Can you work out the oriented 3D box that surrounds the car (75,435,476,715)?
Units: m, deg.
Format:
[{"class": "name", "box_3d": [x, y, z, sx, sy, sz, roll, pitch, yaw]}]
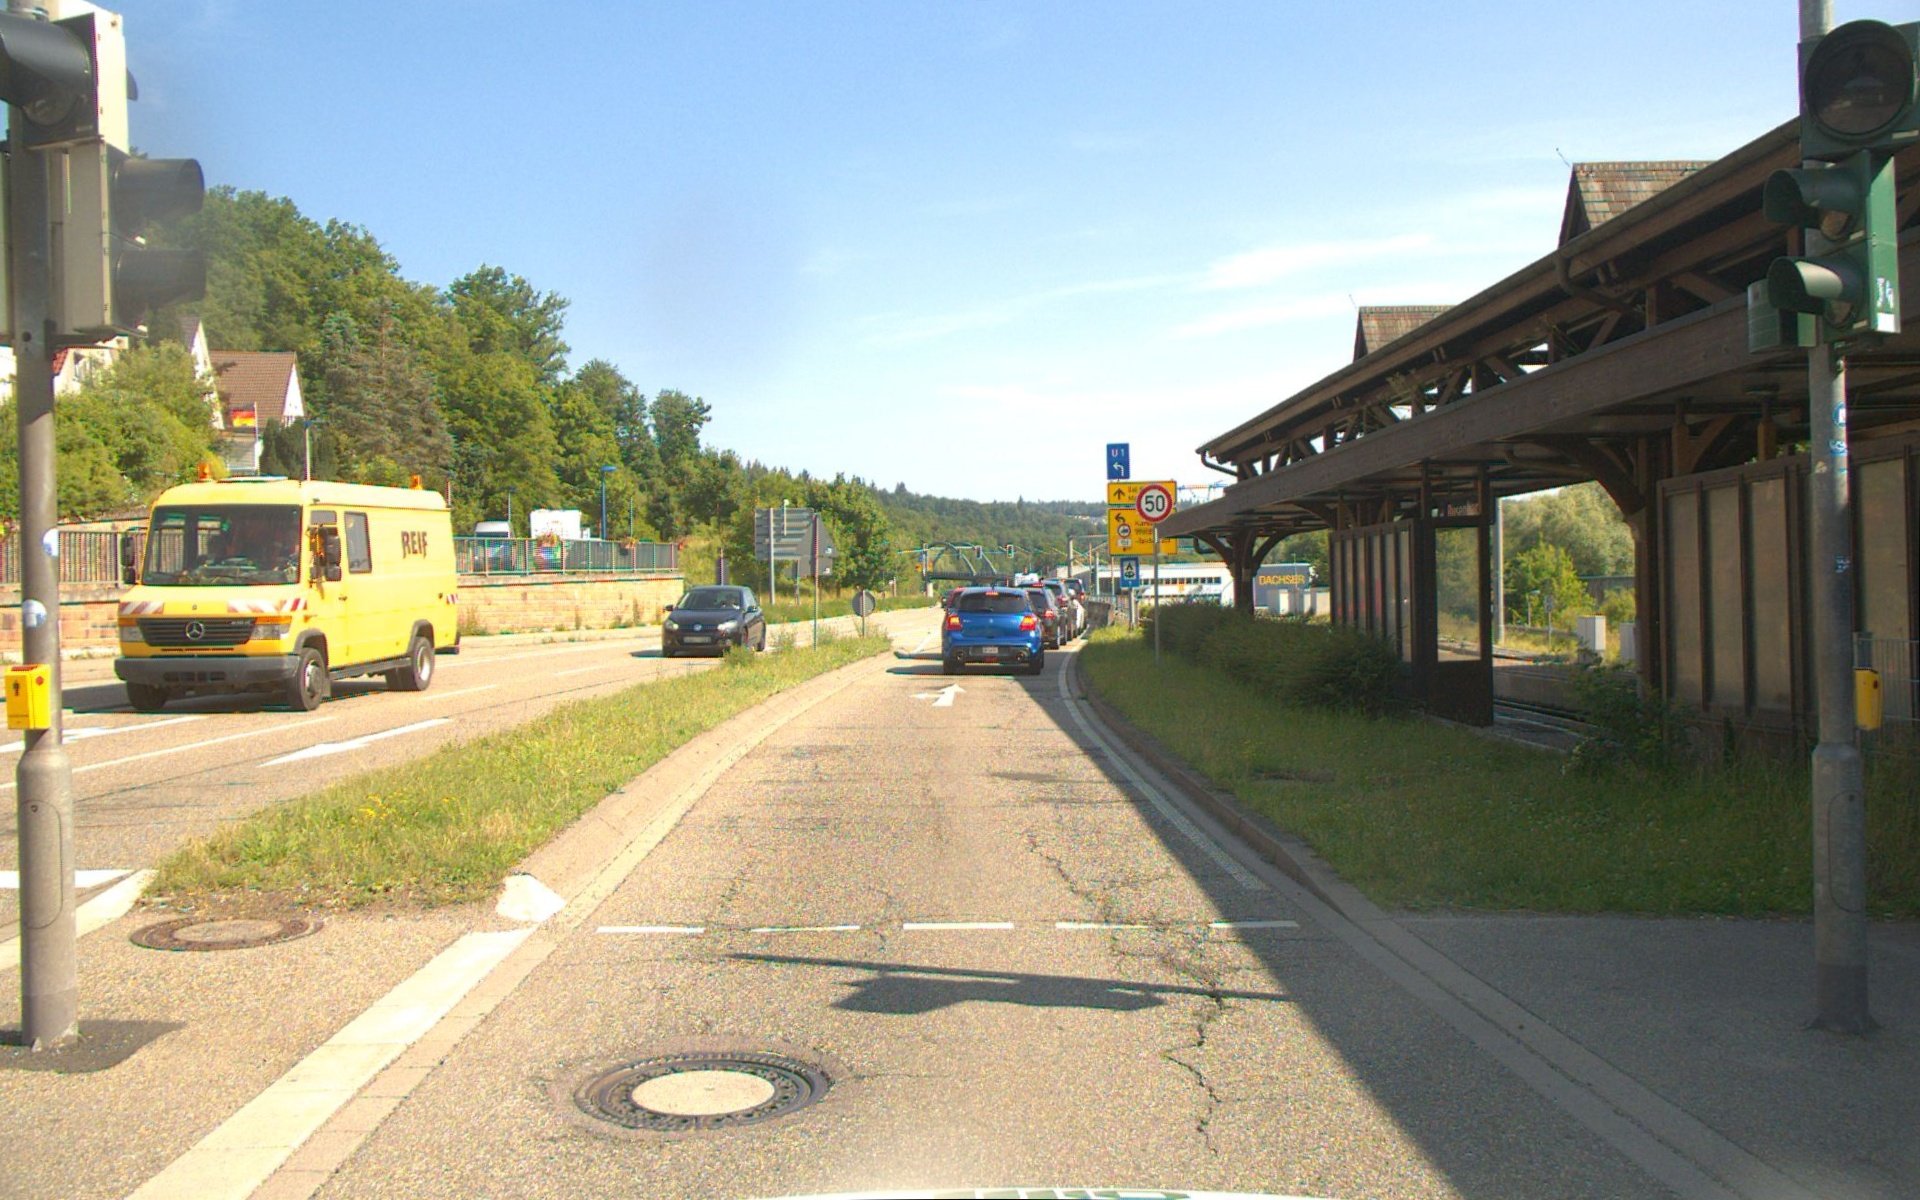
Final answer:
[{"class": "car", "box_3d": [-8.568, -0.291, 21.643, 2.416, 3.063, 6.467, 1, 0, 1]}]

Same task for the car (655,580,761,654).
[{"class": "car", "box_3d": [-5.392, 0.325, 35.820, 1.710, 1.488, 4.043, -1, 0, -1]}]

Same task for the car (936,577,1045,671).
[{"class": "car", "box_3d": [0.583, 0.388, 29.817, 1.829, 1.575, 4.001, 0, 0, 2]}]

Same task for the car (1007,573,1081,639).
[{"class": "car", "box_3d": [2.430, 0.146, 46.780, 1.952, 1.716, 4.499, 2, 1, 4]}]

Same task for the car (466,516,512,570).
[{"class": "car", "box_3d": [-23.199, -2.797, 81.432, 2.059, 2.486, 5.760, 1, 2, -16]}]

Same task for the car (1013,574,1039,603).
[{"class": "car", "box_3d": [5.118, -0.919, 128.752, 1.952, 2.181, 4.721, 1, 0, 2]}]

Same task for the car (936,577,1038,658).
[{"class": "car", "box_3d": [0.646, 0.356, 35.495, 1.952, 1.598, 4.002, 1, 0, 4]}]

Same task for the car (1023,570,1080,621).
[{"class": "car", "box_3d": [3.395, -0.182, 60.777, 1.952, 1.766, 4.002, 2, 1, 4]}]

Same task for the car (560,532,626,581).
[{"class": "car", "box_3d": [-15.347, -1.832, 69.361, 1.981, 1.953, 4.728, 1, 2, -4]}]

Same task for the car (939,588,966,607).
[{"class": "car", "box_3d": [-0.624, -0.247, 134.638, 1.753, 1.496, 4.719, 0, 1, 5]}]

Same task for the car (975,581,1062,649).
[{"class": "car", "box_3d": [1.492, 0.318, 40.729, 1.951, 1.558, 4.604, -1, 1, 4]}]
